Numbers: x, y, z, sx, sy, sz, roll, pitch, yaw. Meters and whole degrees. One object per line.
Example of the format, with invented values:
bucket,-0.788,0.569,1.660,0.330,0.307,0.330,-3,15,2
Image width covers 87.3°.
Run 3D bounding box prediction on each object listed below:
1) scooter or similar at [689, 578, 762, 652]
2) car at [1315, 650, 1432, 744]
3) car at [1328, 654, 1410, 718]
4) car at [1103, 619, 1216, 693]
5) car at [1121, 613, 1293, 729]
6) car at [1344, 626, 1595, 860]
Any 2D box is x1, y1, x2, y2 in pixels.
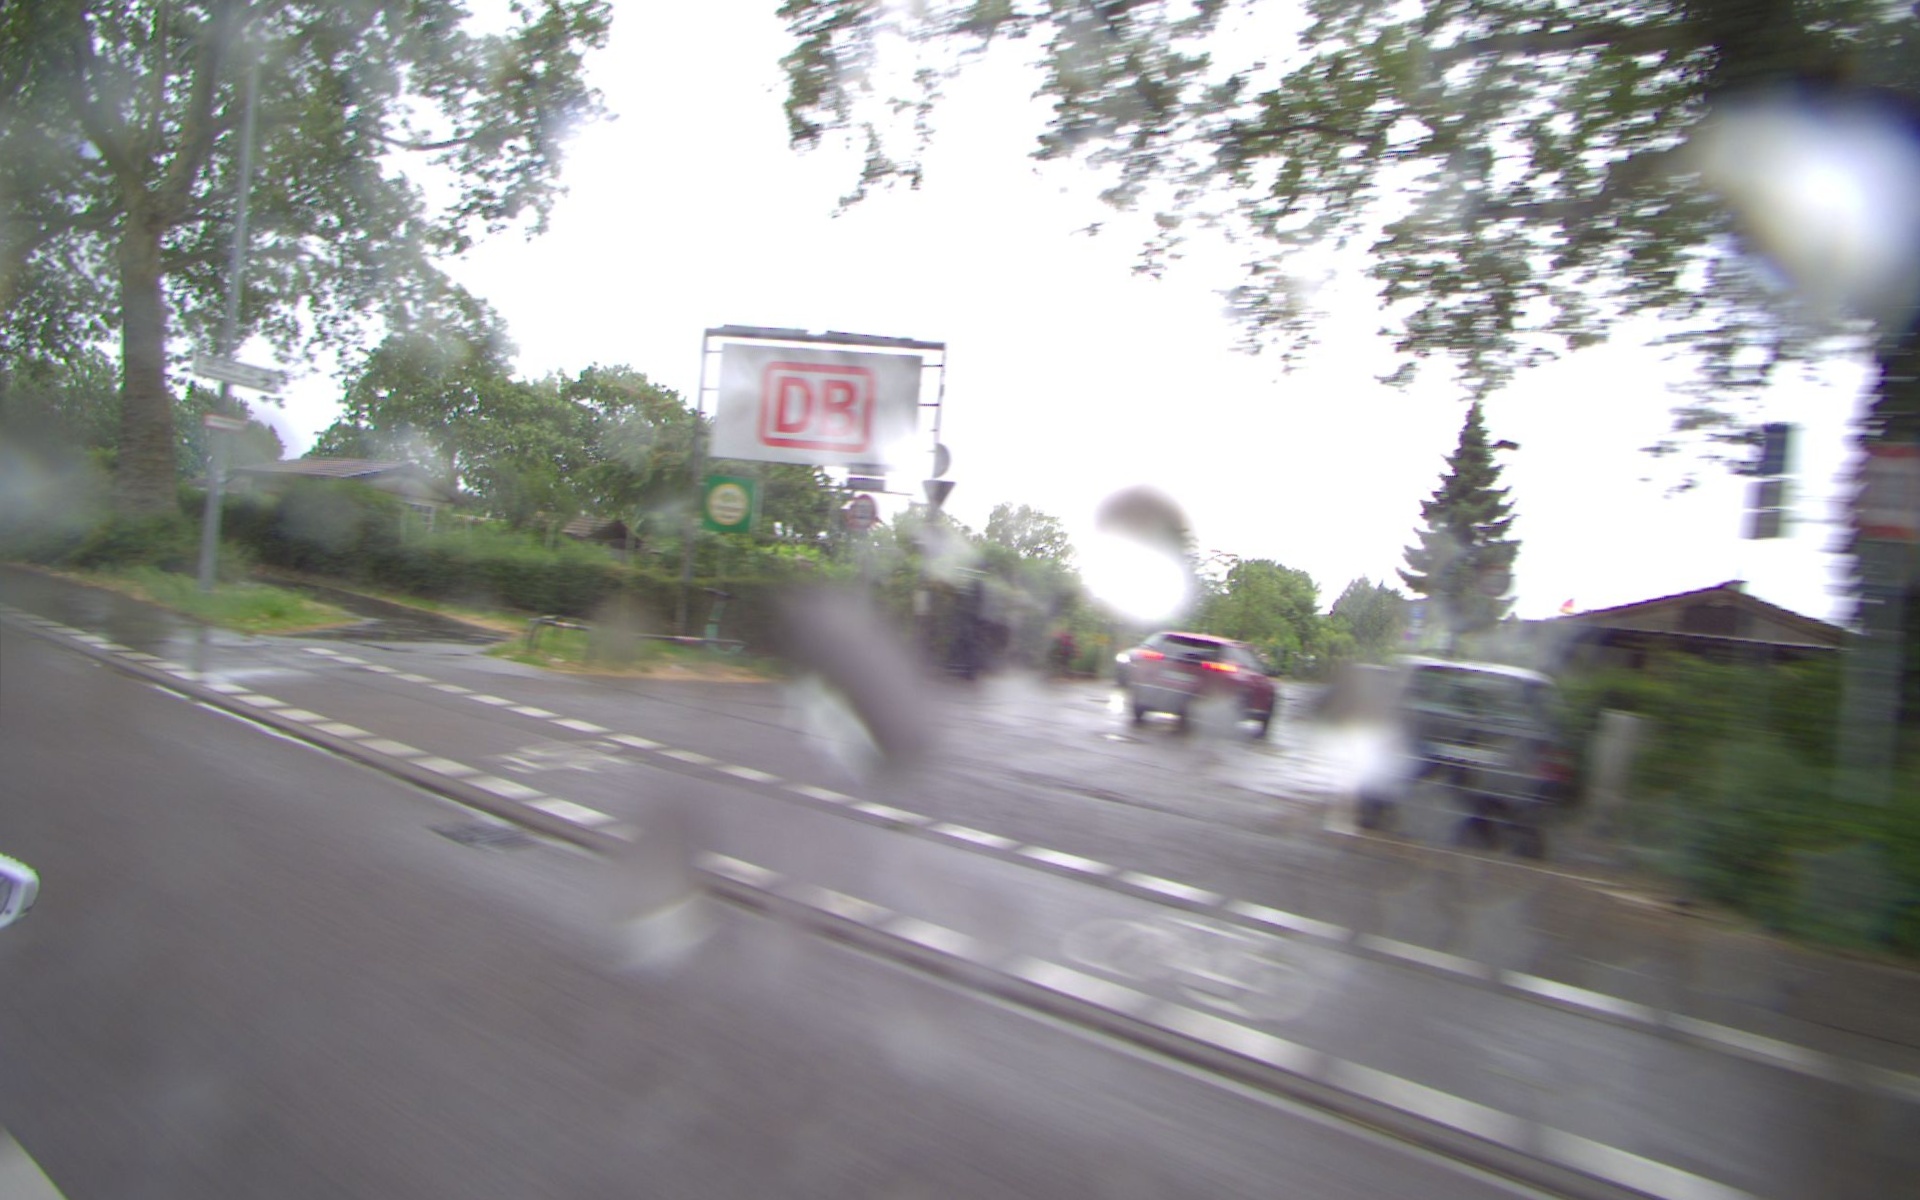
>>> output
scooter or similar,-3.966,0.243,16.969,1.259,1.130,0.458,5,-3,44
car,8.349,1.928,20.141,1.697,1.475,3.637,8,-1,27
car,11.722,2.462,28.680,1.697,1.475,3.637,8,-1,27
car,5.107,1.459,25.467,1.630,1.514,3.388,8,-1,30
car,4.252,1.222,16.904,1.769,1.514,3.636,8,-1,29
car,4.708,1.248,9.758,1.628,1.627,3.393,8,-1,21
